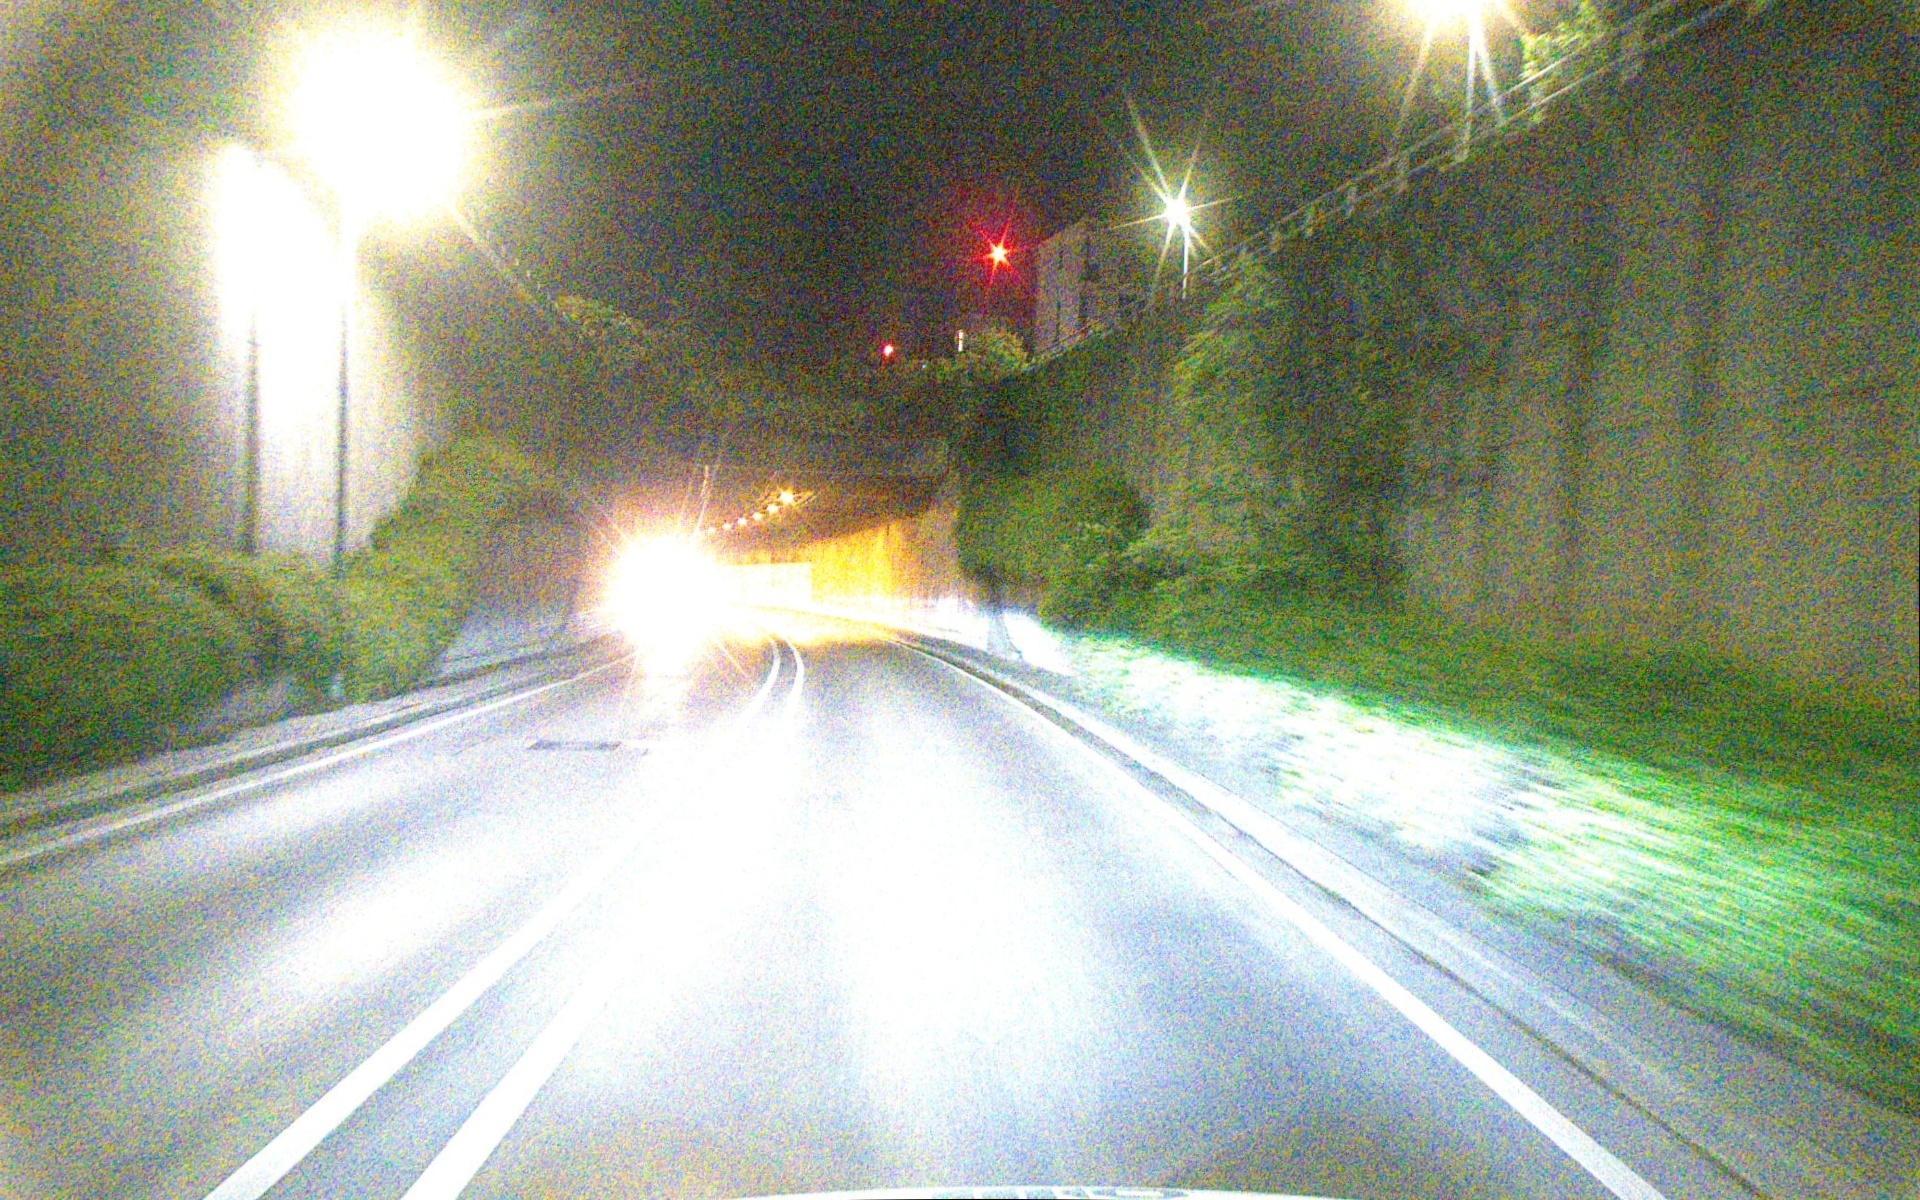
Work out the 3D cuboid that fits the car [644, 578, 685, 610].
[{"bbox_3d":[-18.424,-0.392,103.091,1.962,1.770,3.983,7,-1,-16],"label":"car"}]
